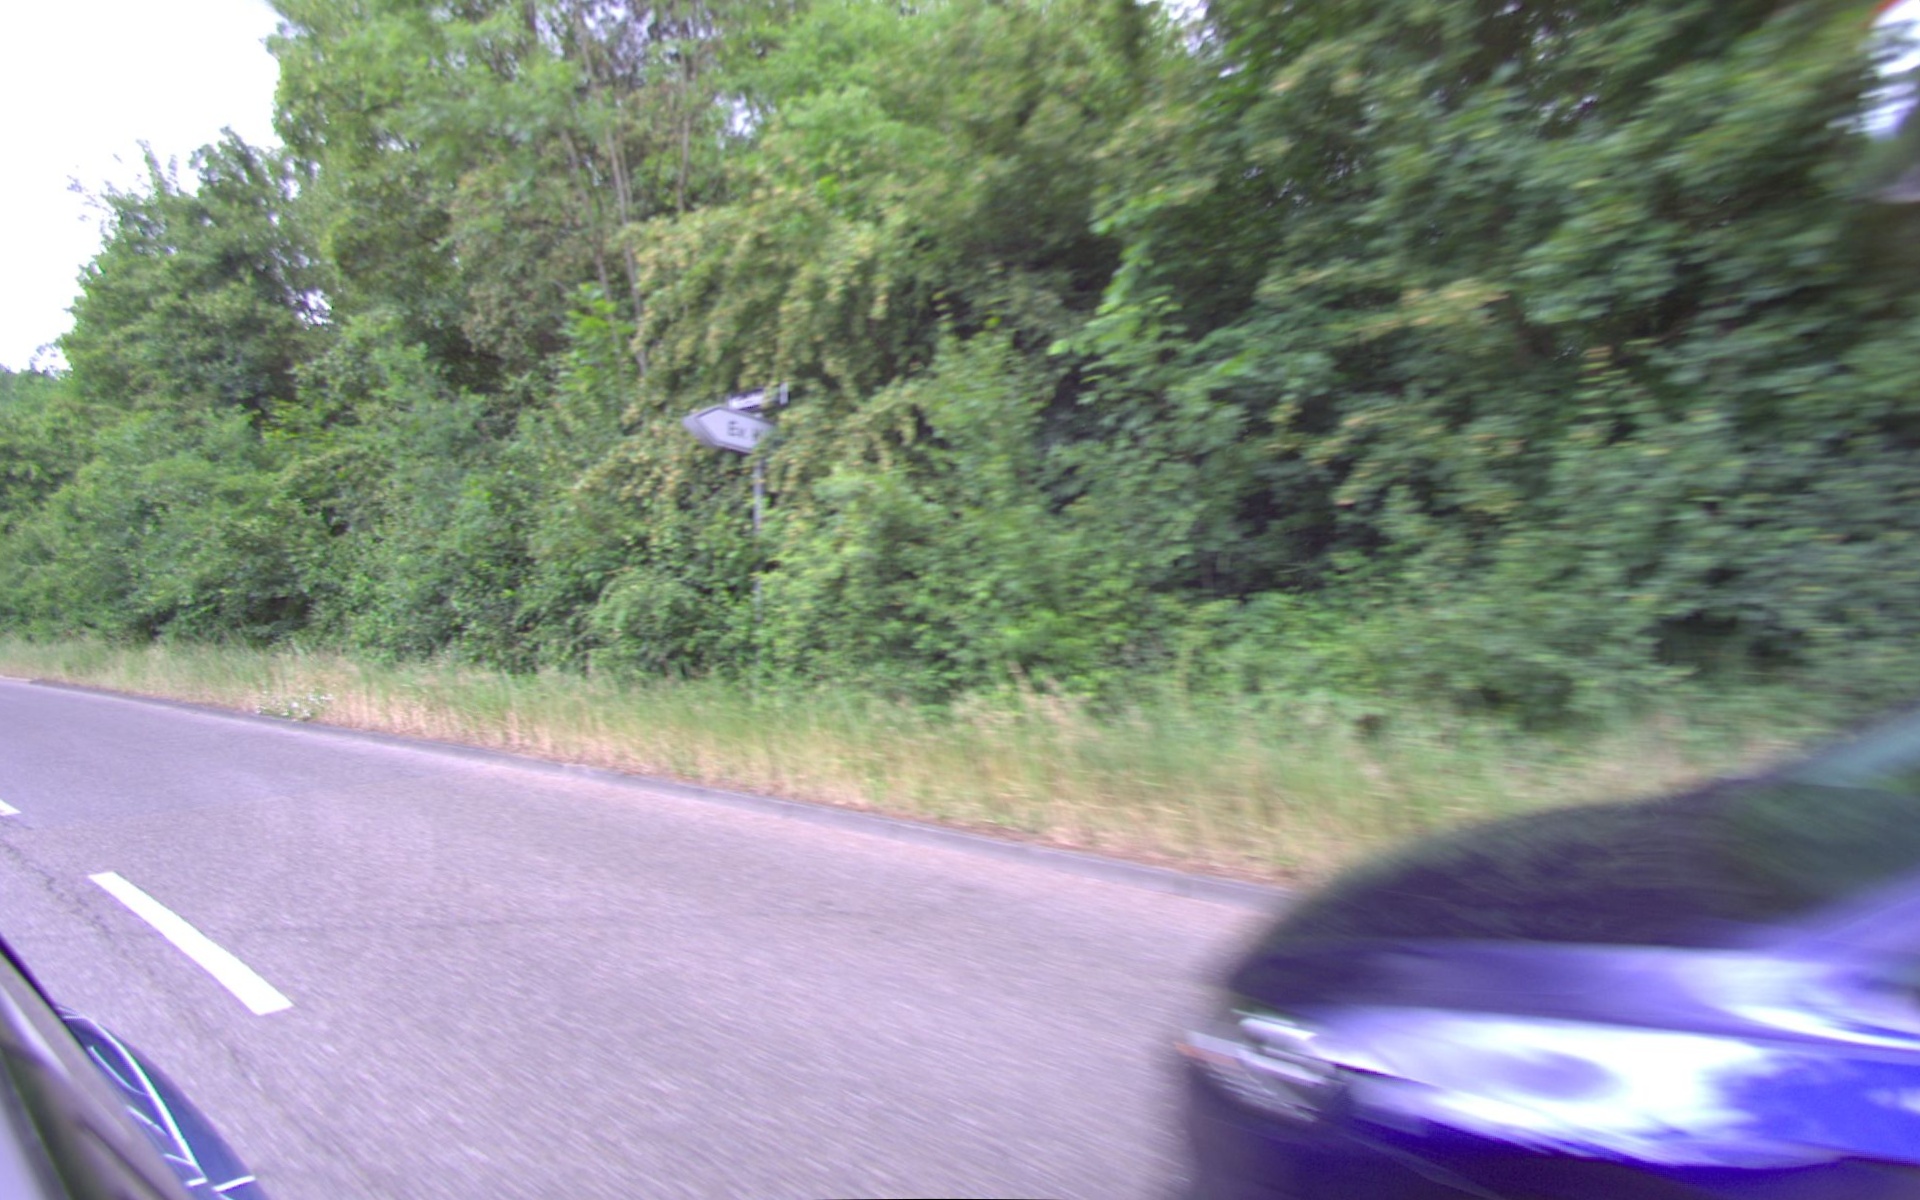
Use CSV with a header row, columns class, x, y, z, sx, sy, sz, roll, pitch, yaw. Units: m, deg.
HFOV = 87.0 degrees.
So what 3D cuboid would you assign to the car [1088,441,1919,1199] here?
class,x,y,z,sx,sy,sz,roll,pitch,yaw
car,2.684,0.602,1.063,4.834,1.526,1.772,1,0,37
